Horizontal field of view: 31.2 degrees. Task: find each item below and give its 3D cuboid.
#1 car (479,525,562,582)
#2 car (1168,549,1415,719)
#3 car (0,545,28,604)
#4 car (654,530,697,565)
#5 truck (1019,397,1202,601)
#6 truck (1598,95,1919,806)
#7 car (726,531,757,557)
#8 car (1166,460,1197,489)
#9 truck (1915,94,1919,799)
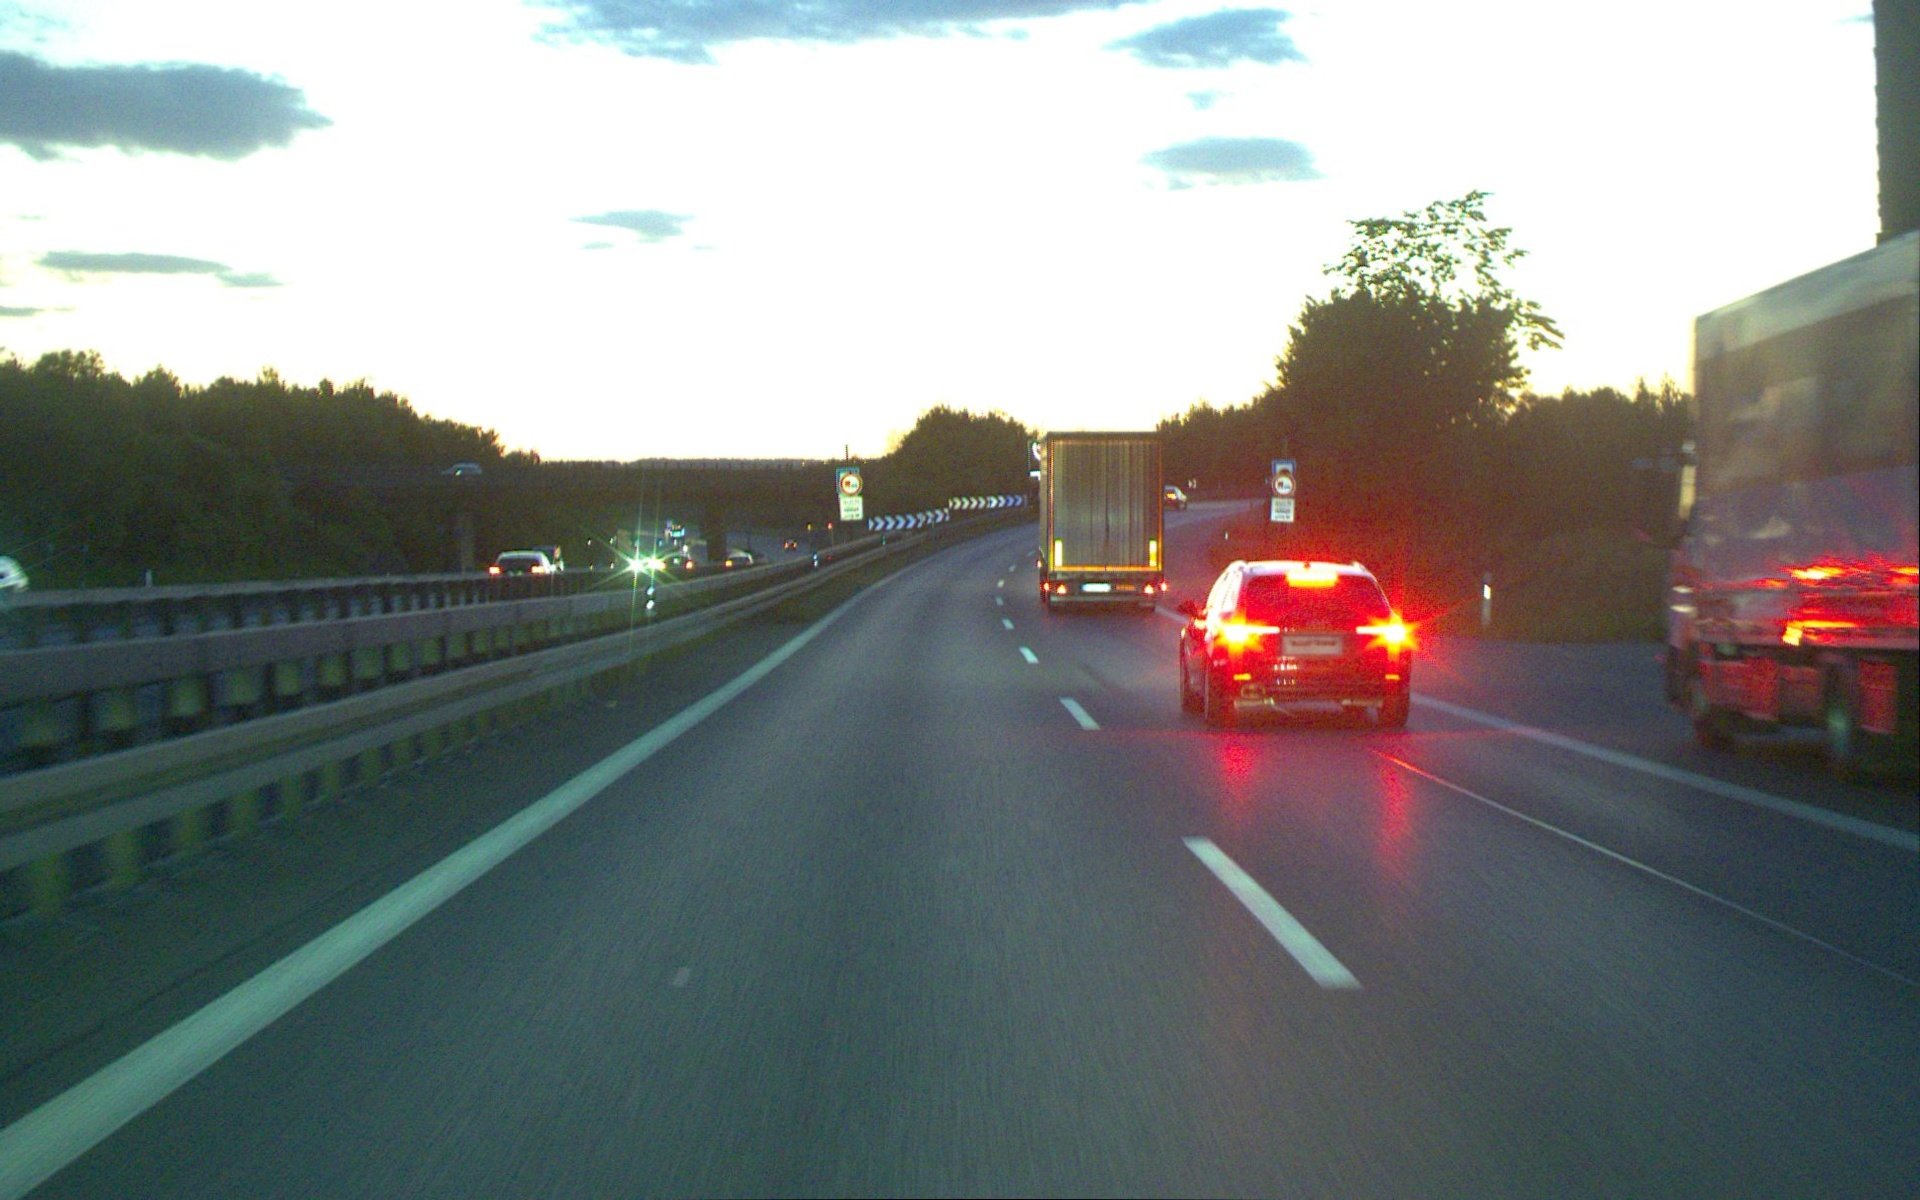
[{"bbox_3d":[-12.983,-1.380,101.843,1.872,1.556,4.520,-2,1,-1],"label":"car"},{"bbox_3d":[2.937,0.260,31.210,1.915,1.437,4.000,0,1,1],"label":"car"},{"bbox_3d":[-25.306,-0.660,88.407,1.668,1.489,3.674,0,1,0],"label":"car"},{"bbox_3d":[-13.712,-2.553,166.023,1.713,1.600,3.722,-2,1,0],"label":"car"},{"bbox_3d":[3.346,-2.266,79.293,3.510,4.286,9.892,-2,1,-1],"label":"truck"},{"bbox_3d":[6.886,-0.964,24.384,2.913,4.097,9.150,-1,1,-1],"label":"truck"},{"bbox_3d":[-13.376,-3.428,210.407,1.638,1.541,3.395,-2,1,0],"label":"car"},{"bbox_3d":[15.776,-8.944,244.644,1.900,2.007,3.860,0,1,0],"label":"car"},{"bbox_3d":[6.932,-0.825,16.589,2.788,4.045,6.412,-1,1,-1],"label":"truck"}]
